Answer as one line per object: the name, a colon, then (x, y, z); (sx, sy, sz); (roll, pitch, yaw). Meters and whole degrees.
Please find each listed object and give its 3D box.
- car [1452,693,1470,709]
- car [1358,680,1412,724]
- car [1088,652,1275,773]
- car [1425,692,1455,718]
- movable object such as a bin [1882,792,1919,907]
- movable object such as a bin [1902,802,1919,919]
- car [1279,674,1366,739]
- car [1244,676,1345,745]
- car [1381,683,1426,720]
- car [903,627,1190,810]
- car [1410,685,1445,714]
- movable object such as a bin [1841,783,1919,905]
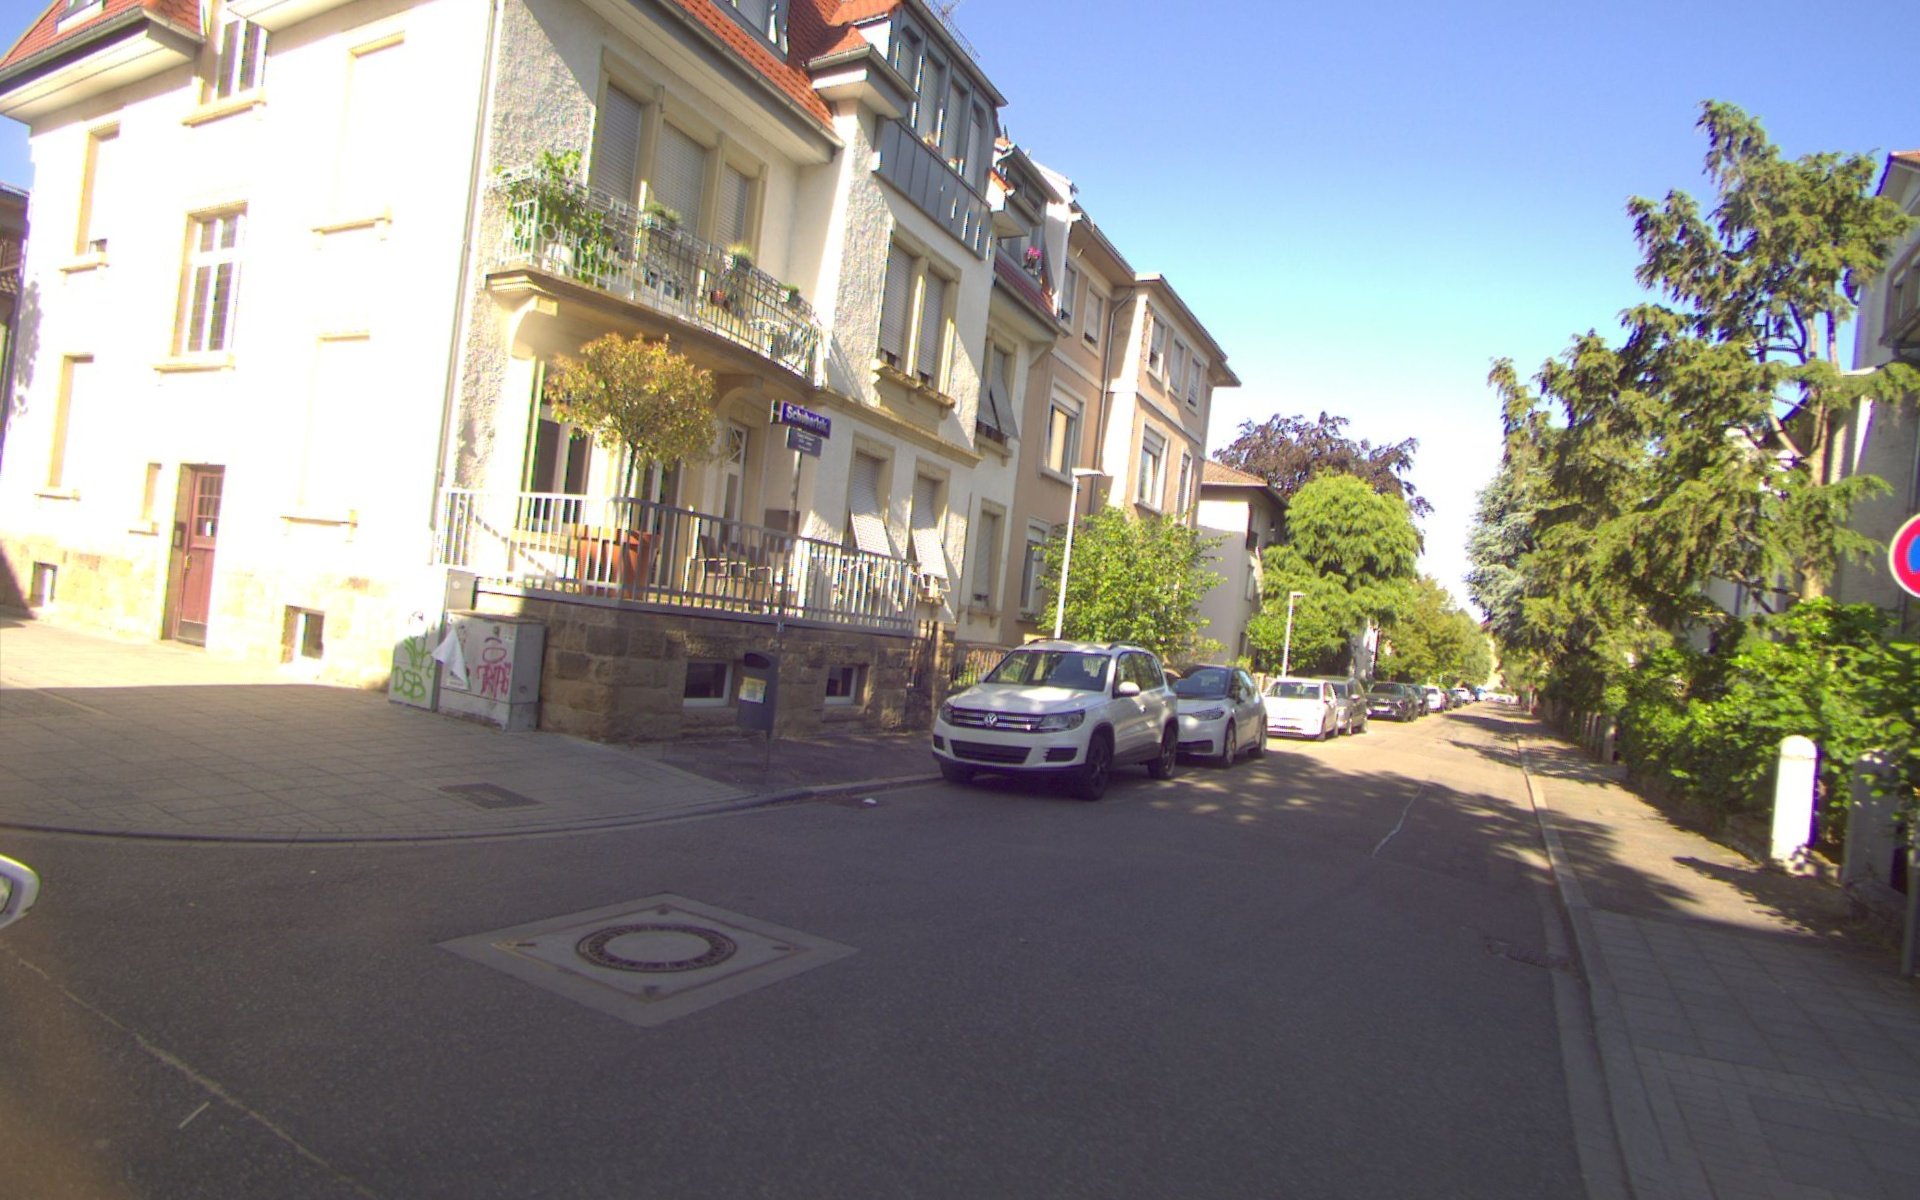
car: (55.523, 11.198, 111.465); (1.645, 1.589, 3.725); (6, -2, 28)
car: (17.904, 4.281, 42.321); (1.645, 1.589, 3.725); (6, -2, 28)
car: (3.744, 1.776, 16.433); (1.965, 1.567, 3.998); (3, -3, 27)
car: (34.232, 7.442, 71.686); (1.645, 1.589, 3.725); (6, -2, 28)
movable object such as a bin: (8.787, 2.271, 9.062); (0.567, 0.963, 0.520); (4, -3, 32)
movable object such as a bin: (8.518, 2.261, 8.579); (0.567, 0.963, 0.520); (4, -3, 32)
car: (10.338, 2.989, 28.525); (1.776, 1.599, 3.393); (3, -3, 28)
car: (8.375, 2.712, 25.029); (1.776, 1.467, 3.393); (3, -3, 28)
car: (22.251, 5.060, 50.398); (1.645, 1.589, 3.725); (6, -2, 28)
car: (1.192, 1.295, 11.641); (1.761, 1.609, 3.996); (3, -3, 29)
car: (29.091, 6.177, 62.552); (1.645, 1.589, 3.725); (6, -2, 28)
movable object such as a bin: (8.935, 2.328, 9.606); (0.656, 1.033, 0.520); (4, -3, 32)
